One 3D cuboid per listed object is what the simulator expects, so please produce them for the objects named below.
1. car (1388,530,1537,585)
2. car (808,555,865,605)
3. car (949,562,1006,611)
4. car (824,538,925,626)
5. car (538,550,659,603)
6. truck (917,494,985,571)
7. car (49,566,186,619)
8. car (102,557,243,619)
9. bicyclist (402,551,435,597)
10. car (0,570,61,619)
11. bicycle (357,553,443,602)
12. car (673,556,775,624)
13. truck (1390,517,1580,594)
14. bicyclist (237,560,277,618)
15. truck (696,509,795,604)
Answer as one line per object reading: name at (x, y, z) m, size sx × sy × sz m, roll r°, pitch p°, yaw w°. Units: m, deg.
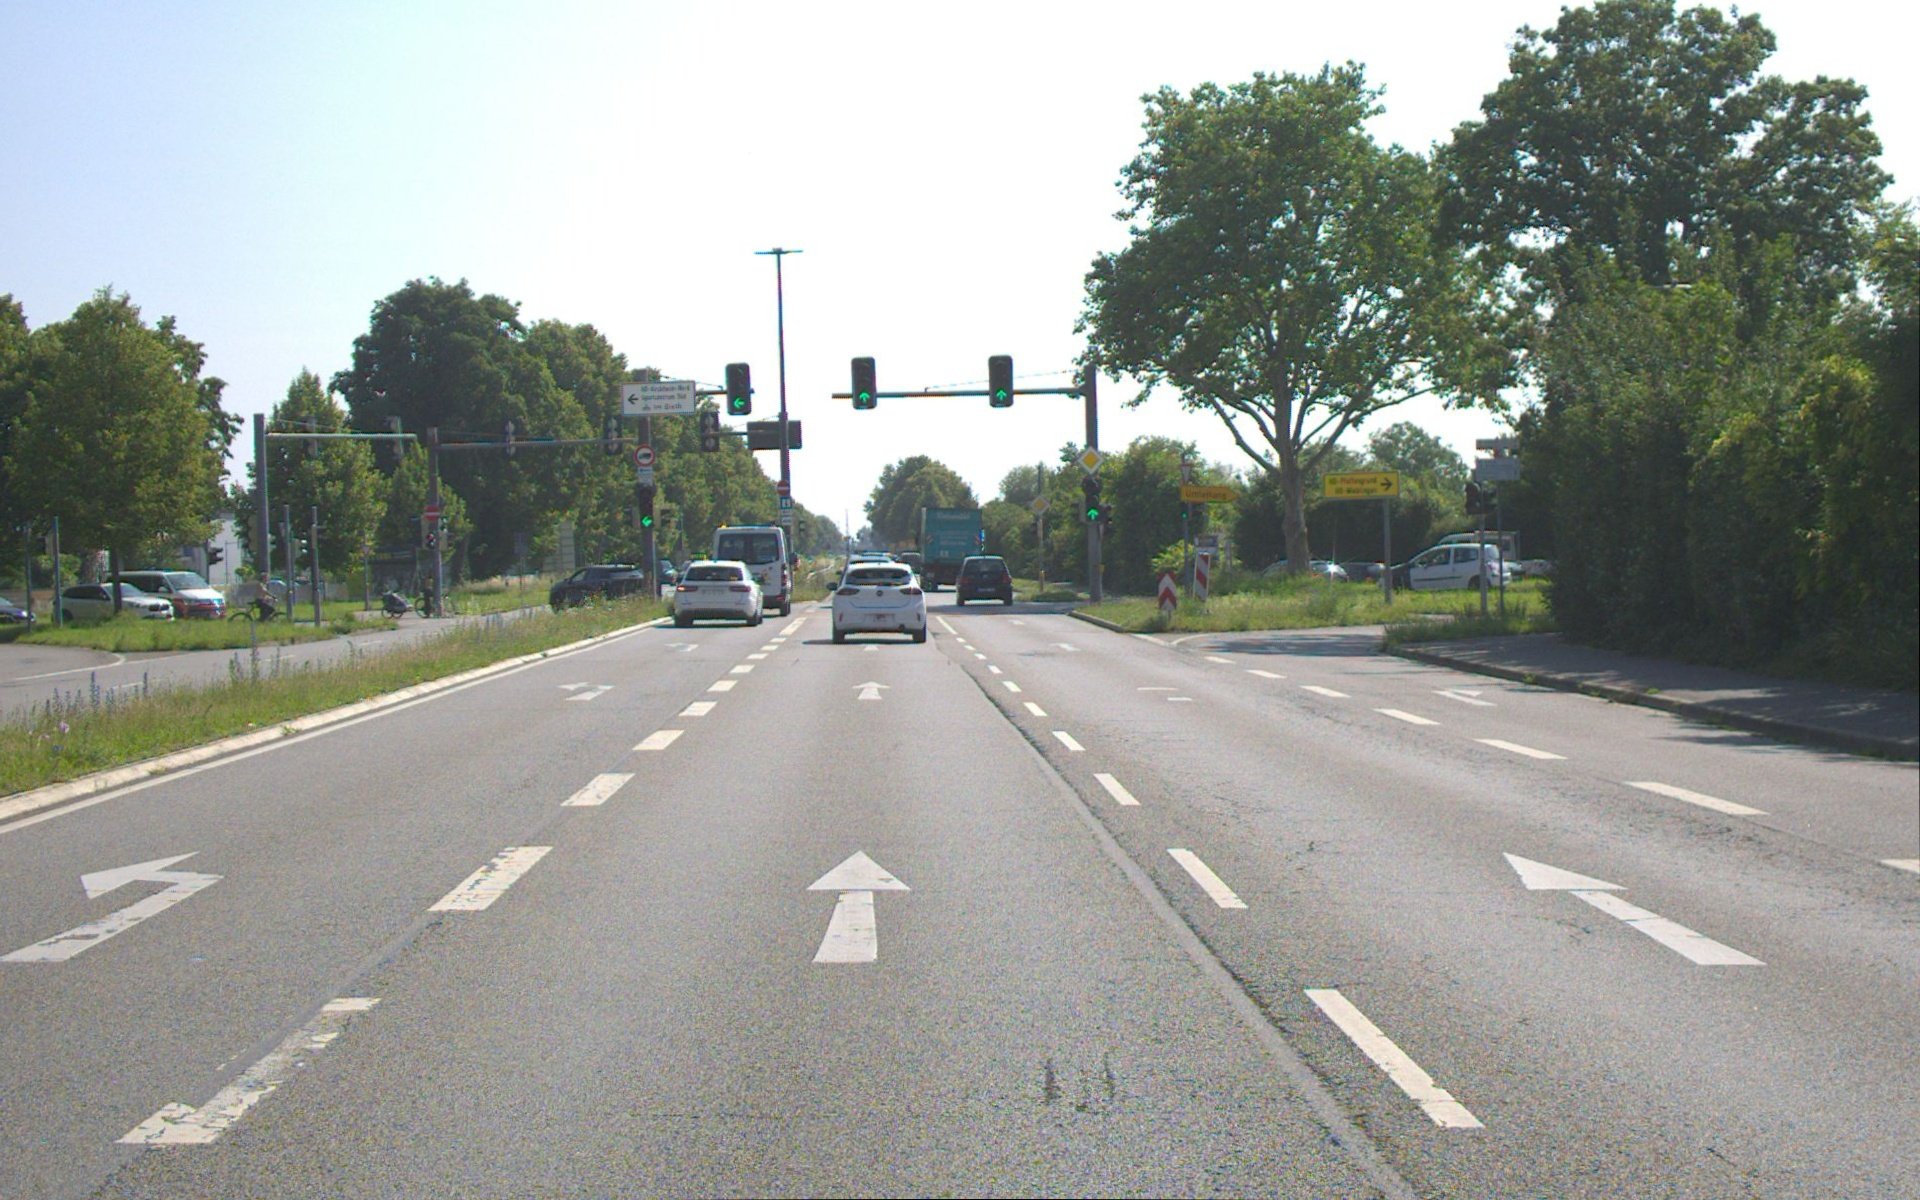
car at (13.953, -1.172, 95.508) m, size 3.747 × 1.464 × 1.783 m, roll 0°, pitch 1°, yaw 23°
car at (-3.607, -0.591, 100.771) m, size 1.572 × 1.409 × 3.278 m, roll -1°, pitch 1°, yaw -1°
car at (0.500, -0.405, 101.269) m, size 1.572 × 1.410 × 3.277 m, roll 0°, pitch 0°, yaw -1°
car at (-1.547, -0.356, 63.230) m, size 1.798 × 1.547 × 4.000 m, roll 0°, pitch 1°, yaw -1°
car at (-11.382, -0.743, 108.183) m, size 1.908 × 1.643 × 3.999 m, roll 0°, pitch 1°, yaw -39°
truck at (-0.445, -3.100, 158.362) m, size 2.891 × 3.417 × 9.170 m, roll -1°, pitch 1°, yaw -1°
car at (-27.726, -0.233, 113.109) m, size 4.262 × 1.600 × 2.001 m, roll -1°, pitch 1°, yaw 34°
car at (-26.705, -0.402, 116.540) m, size 4.649 × 1.943 × 1.996 m, roll -1°, pitch 1°, yaw 34°
bicyclist at (-18.917, -0.910, 120.120) m, size 0.863 × 1.613 × 0.757 m, roll 0°, pitch 0°, yaw 27°
car at (-32.724, -0.158, 116.522) m, size 4.262 × 1.600 × 2.001 m, roll -1°, pitch 1°, yaw 34°
bicycle at (-19.603, -0.797, 120.358) m, size 2.796 × 1.664 × 1.134 m, roll -1°, pitch 1°, yaw 26°
car at (-5.306, -0.251, 77.888) m, size 1.812 × 1.459 × 4.971 m, roll -1°, pitch 1°, yaw 2°
truck at (17.049, -1.421, 111.996) m, size 2.338 × 2.378 × 6.474 m, roll 2°, pitch -1°, yaw -34°
bicyclist at (-18.387, -0.289, 89.956) m, size 0.847 × 1.512 × 0.747 m, roll 0°, pitch 1°, yaw 4°
truck at (-5.611, -1.177, 90.749) m, size 2.373 × 2.381 × 6.041 m, roll -1°, pitch 1°, yaw -2°
